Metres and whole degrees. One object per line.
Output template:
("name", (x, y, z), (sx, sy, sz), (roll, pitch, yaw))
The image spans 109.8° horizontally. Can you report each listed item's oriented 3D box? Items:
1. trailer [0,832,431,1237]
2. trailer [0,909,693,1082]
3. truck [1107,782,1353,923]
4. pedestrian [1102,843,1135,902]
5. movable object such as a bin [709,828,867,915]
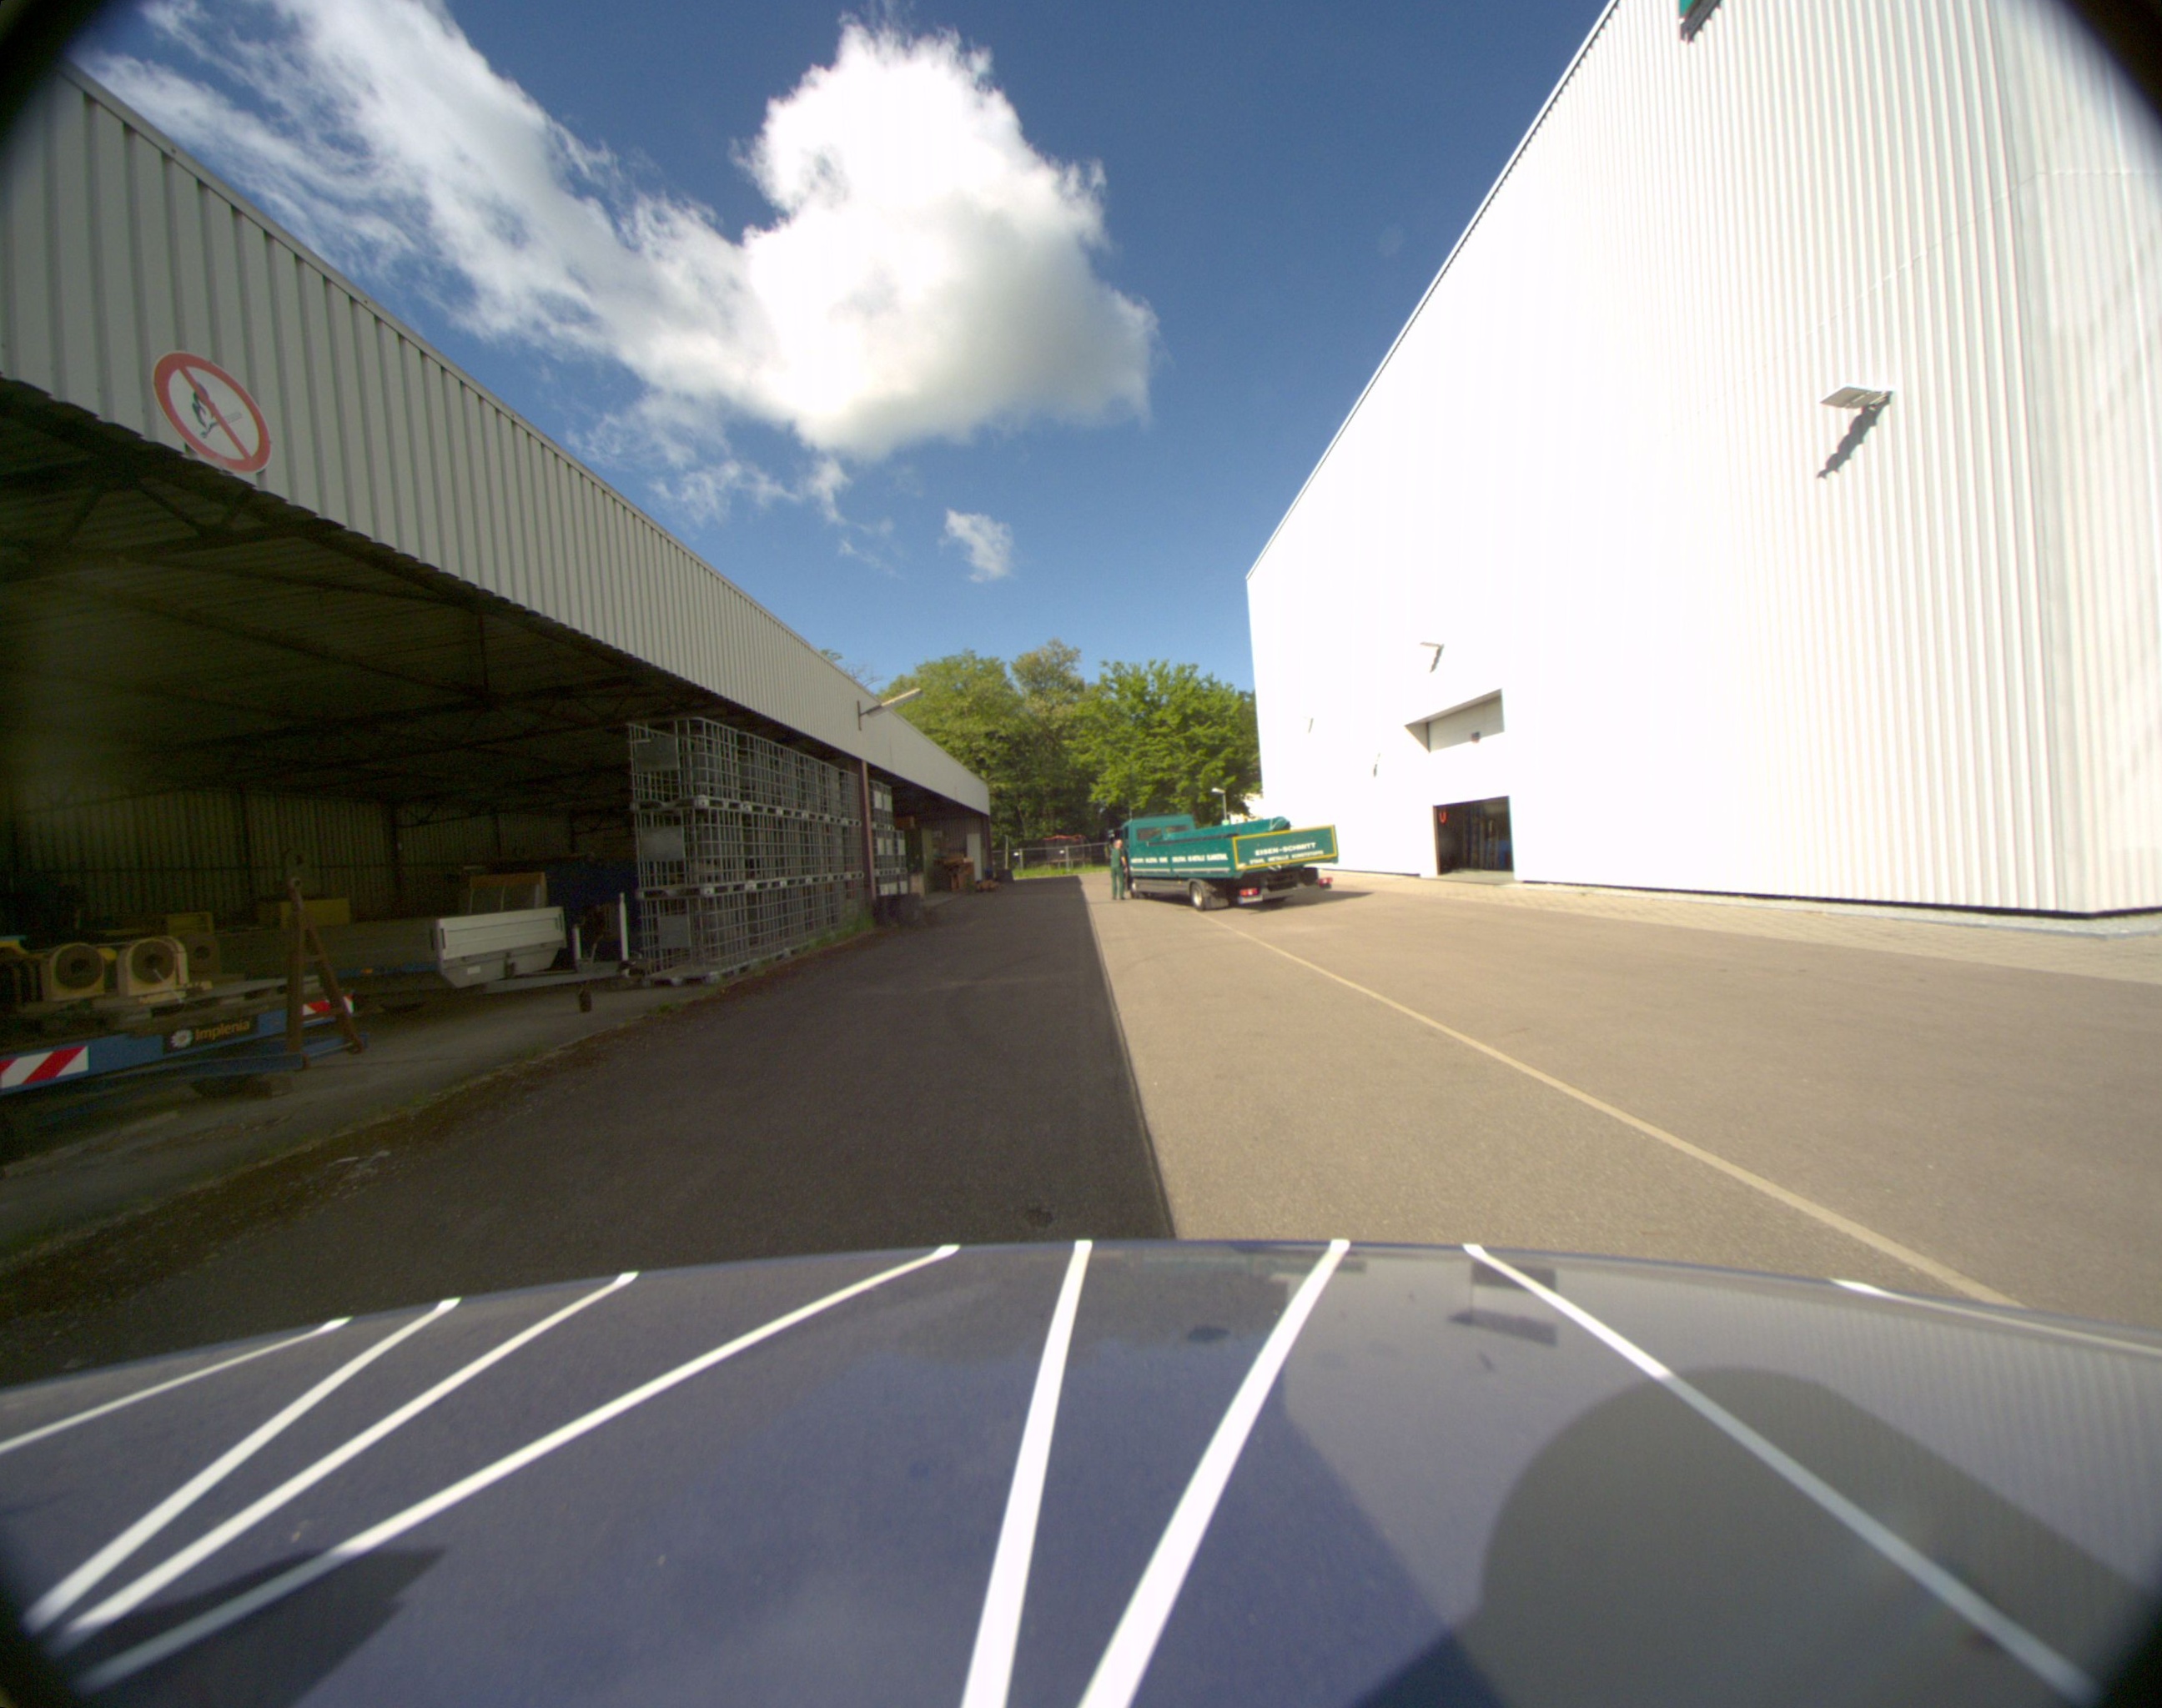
("trailer", (-7.436, 0.975, 4.821), (4.829, 1.985, 2.047), (-3, 1, 2))
("trailer", (-7.599, 1.407, 8.159), (5.749, 1.126, 2.008), (-3, 1, -2))
("truck", (3.364, 0.027, 20.742), (2.590, 2.701, 9.685), (-7, 1, -13))
("pedestrian", (1.162, 0.558, 23.741), (0.894, 1.792, 1.039), (-2, 1, -4))
("movable object such as a bin", (-10.088, 0.598, 26.448), (4.627, 2.706, 2.000), (-2, 0, -2))
